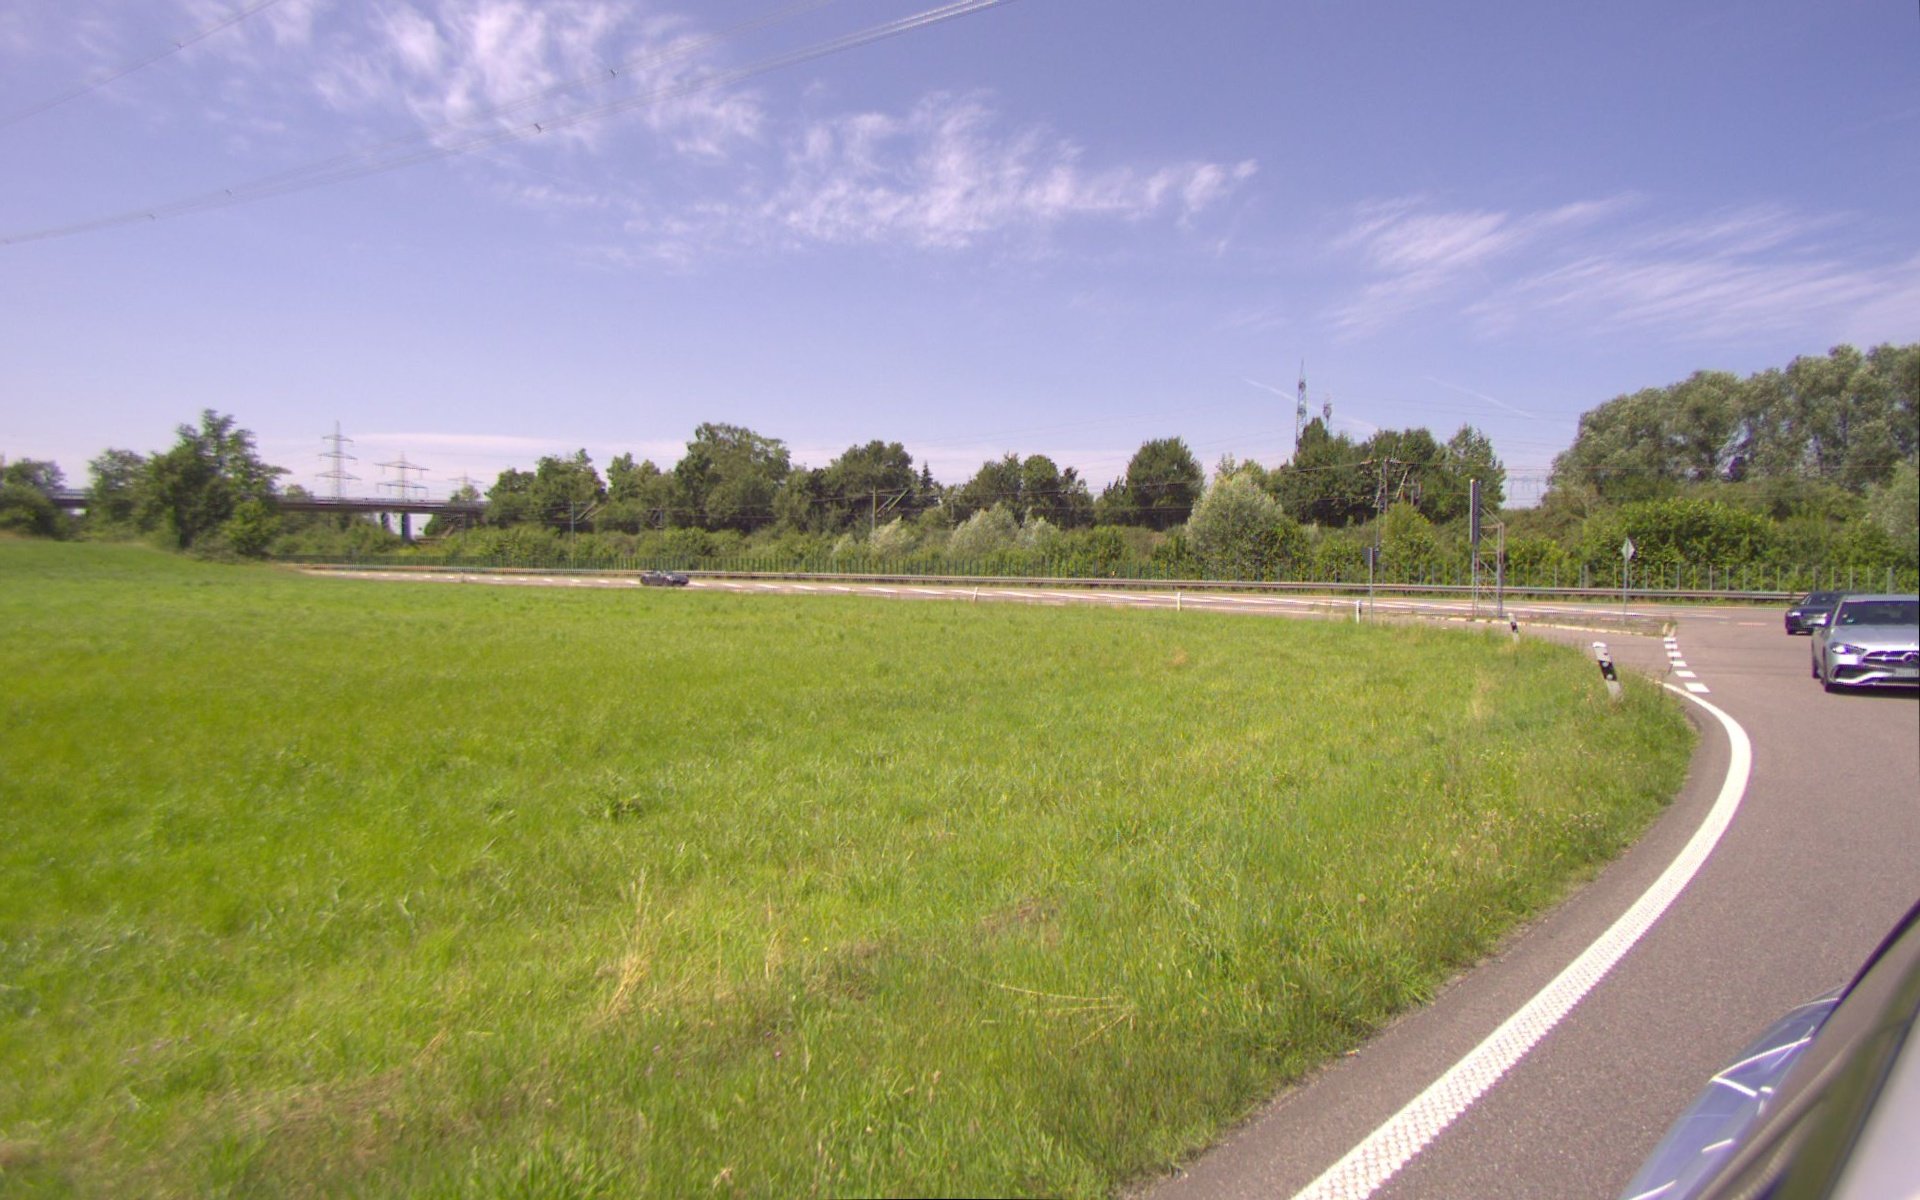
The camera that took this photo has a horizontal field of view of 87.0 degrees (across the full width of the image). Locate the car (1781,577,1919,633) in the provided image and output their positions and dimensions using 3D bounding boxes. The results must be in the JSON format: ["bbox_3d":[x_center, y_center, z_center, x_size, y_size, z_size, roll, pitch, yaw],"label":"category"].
[{"bbox_3d":[28.036,0.125,31.466,4.062,1.456,1.831,-2,4,-15],"label":"car"}]

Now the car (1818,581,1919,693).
[{"bbox_3d":[14.529,0.484,15.587,1.816,1.505,4.092,1,2,38],"label":"car"}]

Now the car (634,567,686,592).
[{"bbox_3d":[-22.854,-1.586,76.965,3.975,1.745,1.703,2,2,35],"label":"car"}]
